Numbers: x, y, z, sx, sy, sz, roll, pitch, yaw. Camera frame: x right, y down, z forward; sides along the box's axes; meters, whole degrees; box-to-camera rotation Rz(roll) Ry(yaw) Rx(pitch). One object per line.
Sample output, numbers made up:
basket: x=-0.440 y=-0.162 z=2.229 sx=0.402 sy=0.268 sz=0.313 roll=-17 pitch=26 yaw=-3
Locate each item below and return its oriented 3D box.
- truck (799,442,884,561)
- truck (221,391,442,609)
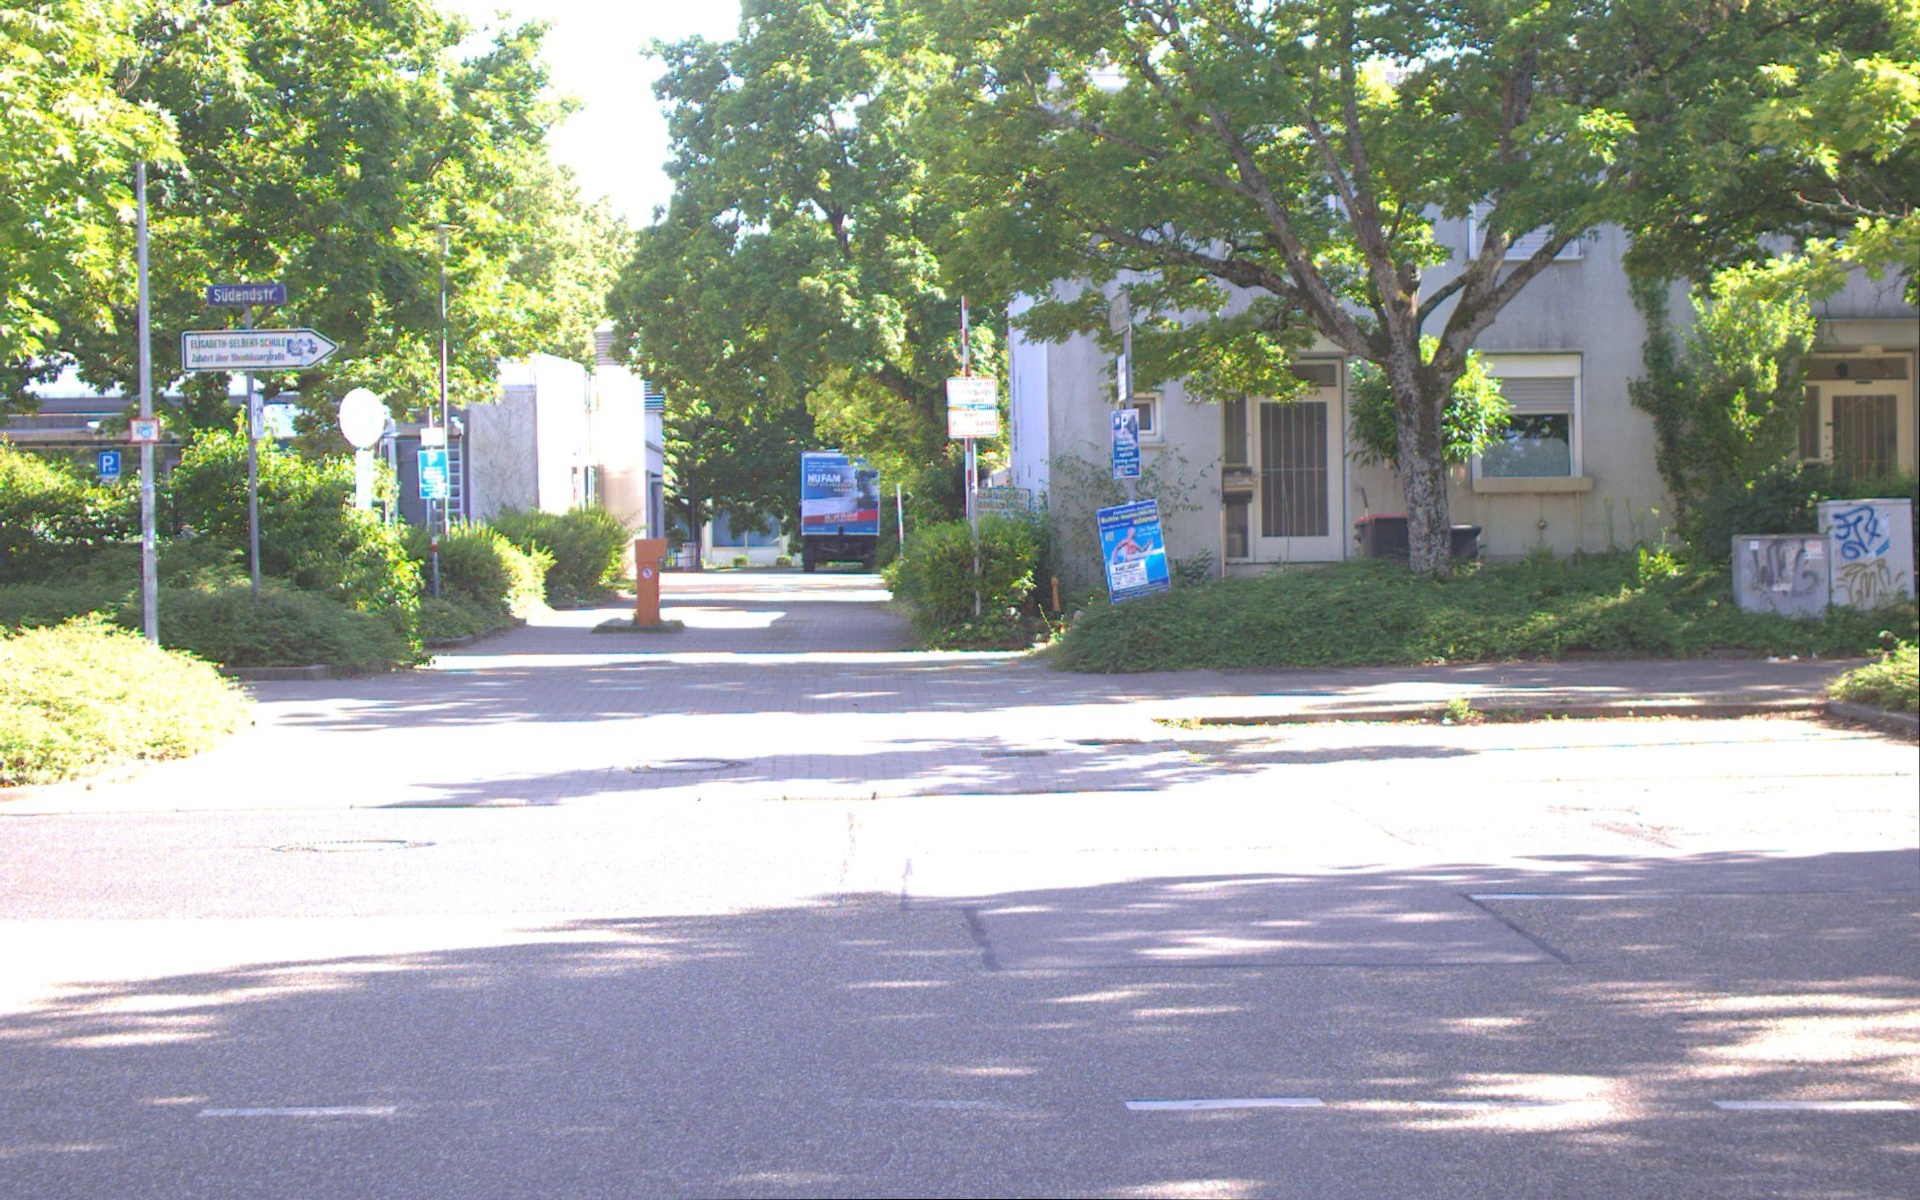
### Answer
truck: x=-3.981 y=-3.350 z=117.393 sx=2.760 sy=3.856 sz=9.331 roll=0 pitch=1 yaw=-1
truck: x=-11.526 y=-1.834 z=63.623 sx=2.802 sy=3.793 sz=6.925 roll=0 pitch=1 yaw=0
